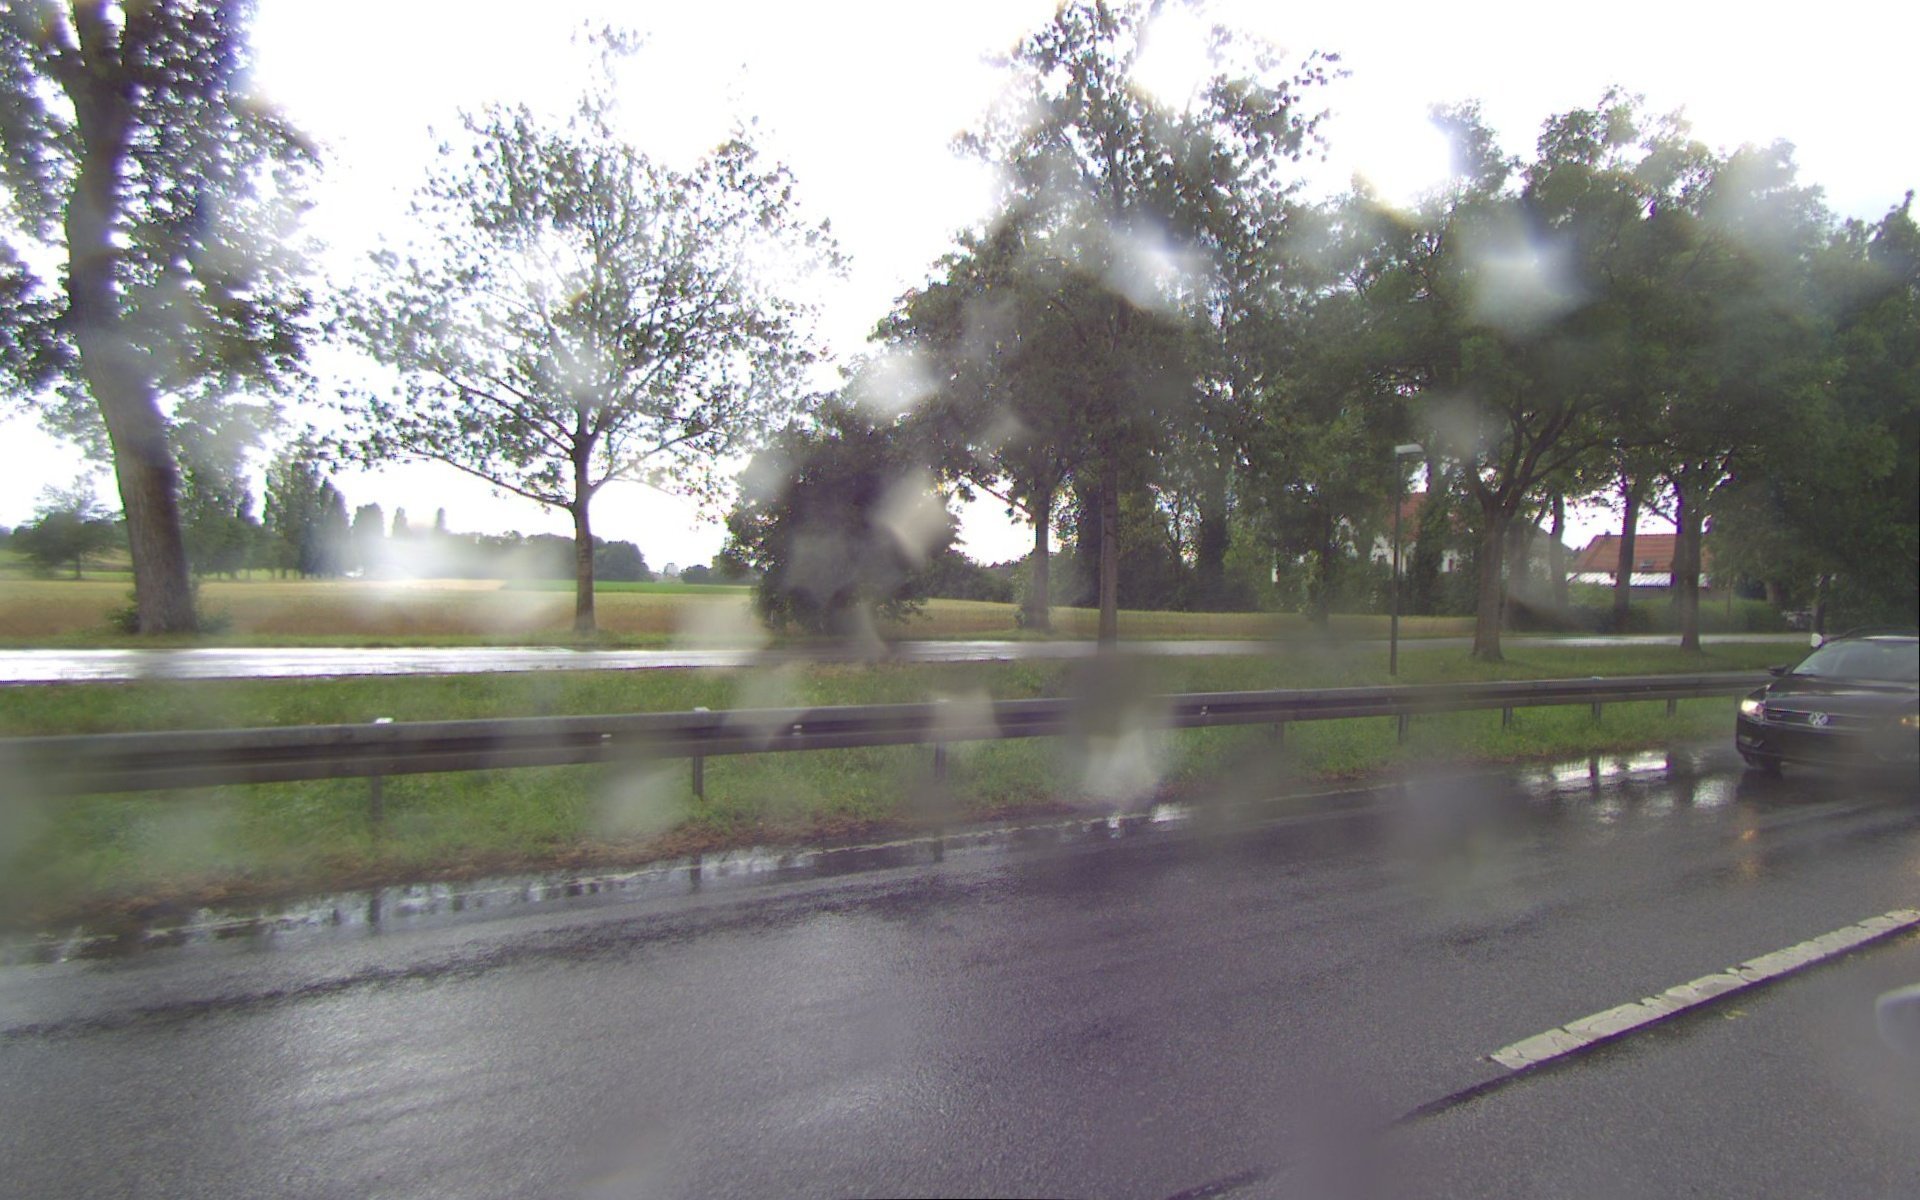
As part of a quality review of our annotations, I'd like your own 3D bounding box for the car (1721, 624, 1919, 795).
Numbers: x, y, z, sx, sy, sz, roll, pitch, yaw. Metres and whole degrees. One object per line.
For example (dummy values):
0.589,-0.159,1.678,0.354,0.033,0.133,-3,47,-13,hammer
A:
9.718,1.002,10.354,3.914,1.457,1.620,1,0,-30,car
